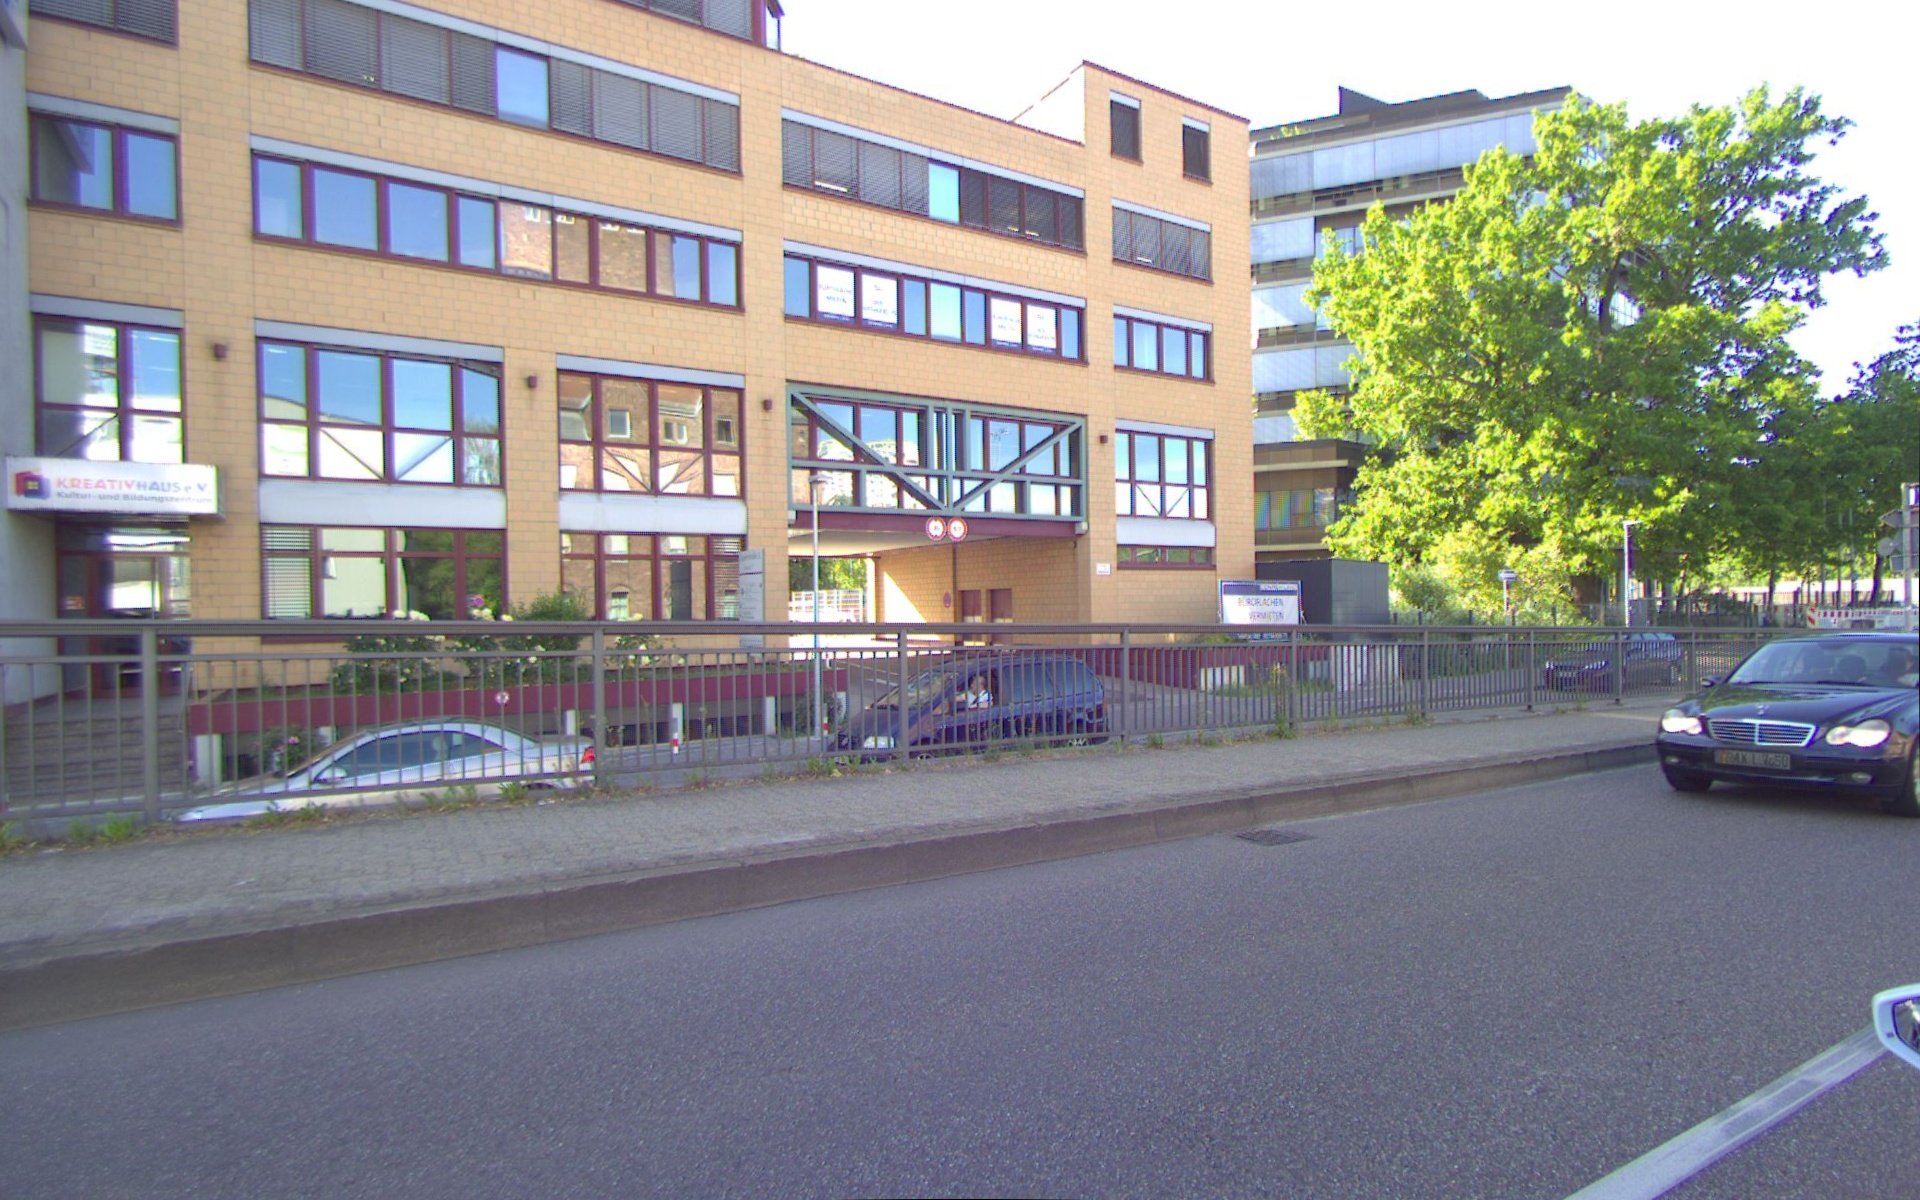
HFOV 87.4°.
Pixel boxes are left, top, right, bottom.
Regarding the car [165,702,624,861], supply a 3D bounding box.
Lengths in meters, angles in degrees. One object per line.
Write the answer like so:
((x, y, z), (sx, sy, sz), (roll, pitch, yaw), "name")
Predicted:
((-6.134, 1.896, 11.308), (4.210, 1.181, 1.713), (0, -2, -32), "car")

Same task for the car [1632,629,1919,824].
((8.129, 0.982, 9.216), (4.154, 1.426, 1.732), (1, -2, -32), "car")

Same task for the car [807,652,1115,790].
((0.111, 1.696, 15.251), (4.541, 1.669, 1.710), (0, -2, -35), "car")

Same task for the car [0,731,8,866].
((-10.635, 1.918, 8.286), (3.766, 1.286, 1.567), (0, -2, -32), "car")

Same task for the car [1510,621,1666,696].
((16.435, 1.466, 26.274), (3.953, 1.715, 1.843), (-1, 0, -30), "car")
